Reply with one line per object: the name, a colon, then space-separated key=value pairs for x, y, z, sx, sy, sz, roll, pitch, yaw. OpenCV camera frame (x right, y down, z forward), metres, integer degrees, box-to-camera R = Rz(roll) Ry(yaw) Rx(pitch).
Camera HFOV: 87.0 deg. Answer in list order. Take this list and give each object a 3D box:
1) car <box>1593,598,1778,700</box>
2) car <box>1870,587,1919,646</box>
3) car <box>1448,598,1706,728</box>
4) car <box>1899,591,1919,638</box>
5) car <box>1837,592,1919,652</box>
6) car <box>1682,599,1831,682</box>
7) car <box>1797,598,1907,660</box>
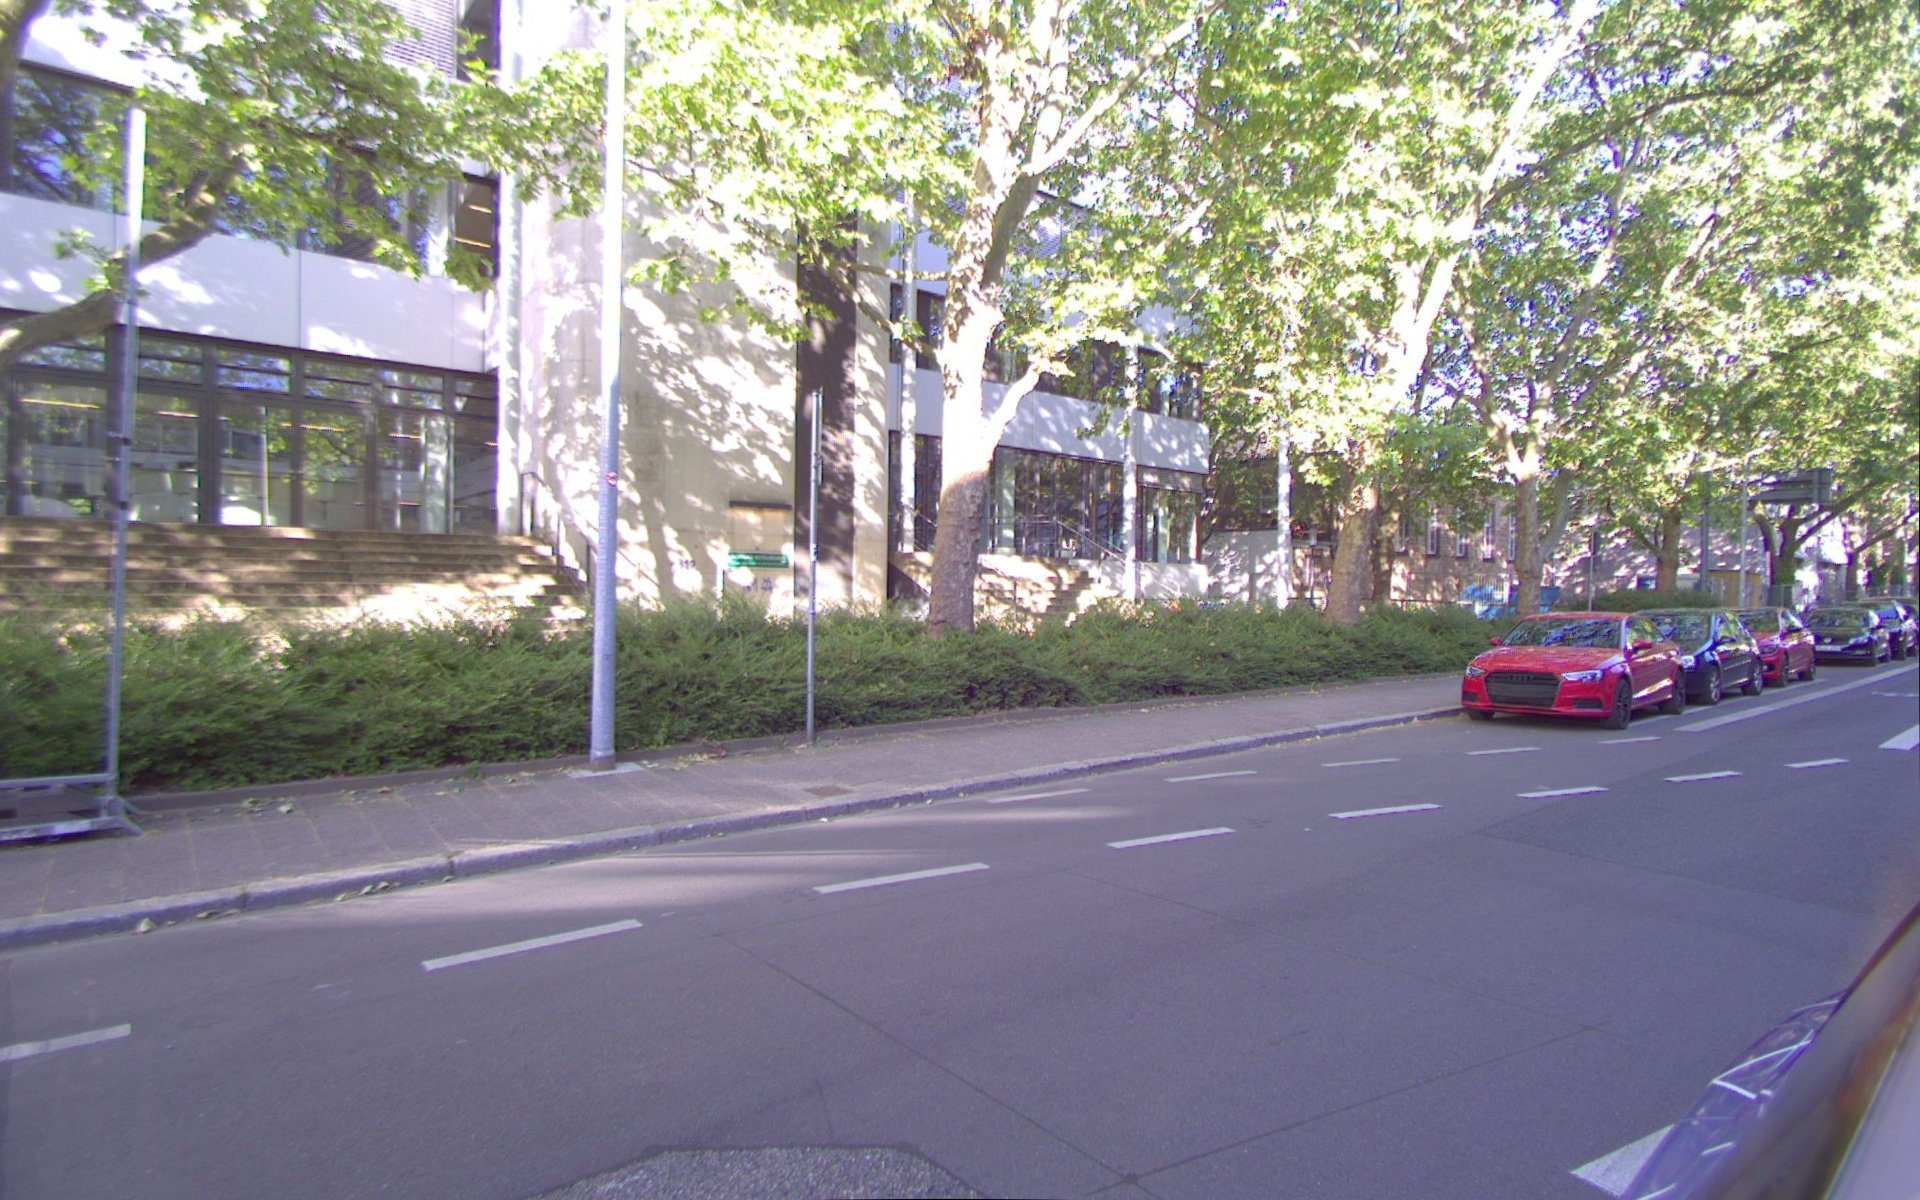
car: x=11.918 y=0.718 z=16.547 sx=3.674 sy=1.483 sz=1.634 roll=0 pitch=-1 yaw=-41
car: x=30.912 y=0.513 z=32.814 sx=3.777 sy=1.828 sz=1.634 roll=0 pitch=-1 yaw=-41
car: x=8.345 y=0.723 z=13.555 sx=4.053 sy=1.483 sz=1.802 roll=0 pitch=-1 yaw=-41
car: x=35.944 y=0.528 z=37.246 sx=3.777 sy=1.675 sz=1.634 roll=0 pitch=-1 yaw=-41
car: x=26.583 y=0.583 z=29.009 sx=3.777 sy=1.607 sz=1.634 roll=0 pitch=-1 yaw=-41
car: x=15.753 y=0.724 z=19.958 sx=3.674 sy=1.483 sz=1.634 roll=0 pitch=-1 yaw=-41
car: x=22.893 y=0.696 z=25.939 sx=3.674 sy=1.483 sz=1.634 roll=0 pitch=-1 yaw=-41
